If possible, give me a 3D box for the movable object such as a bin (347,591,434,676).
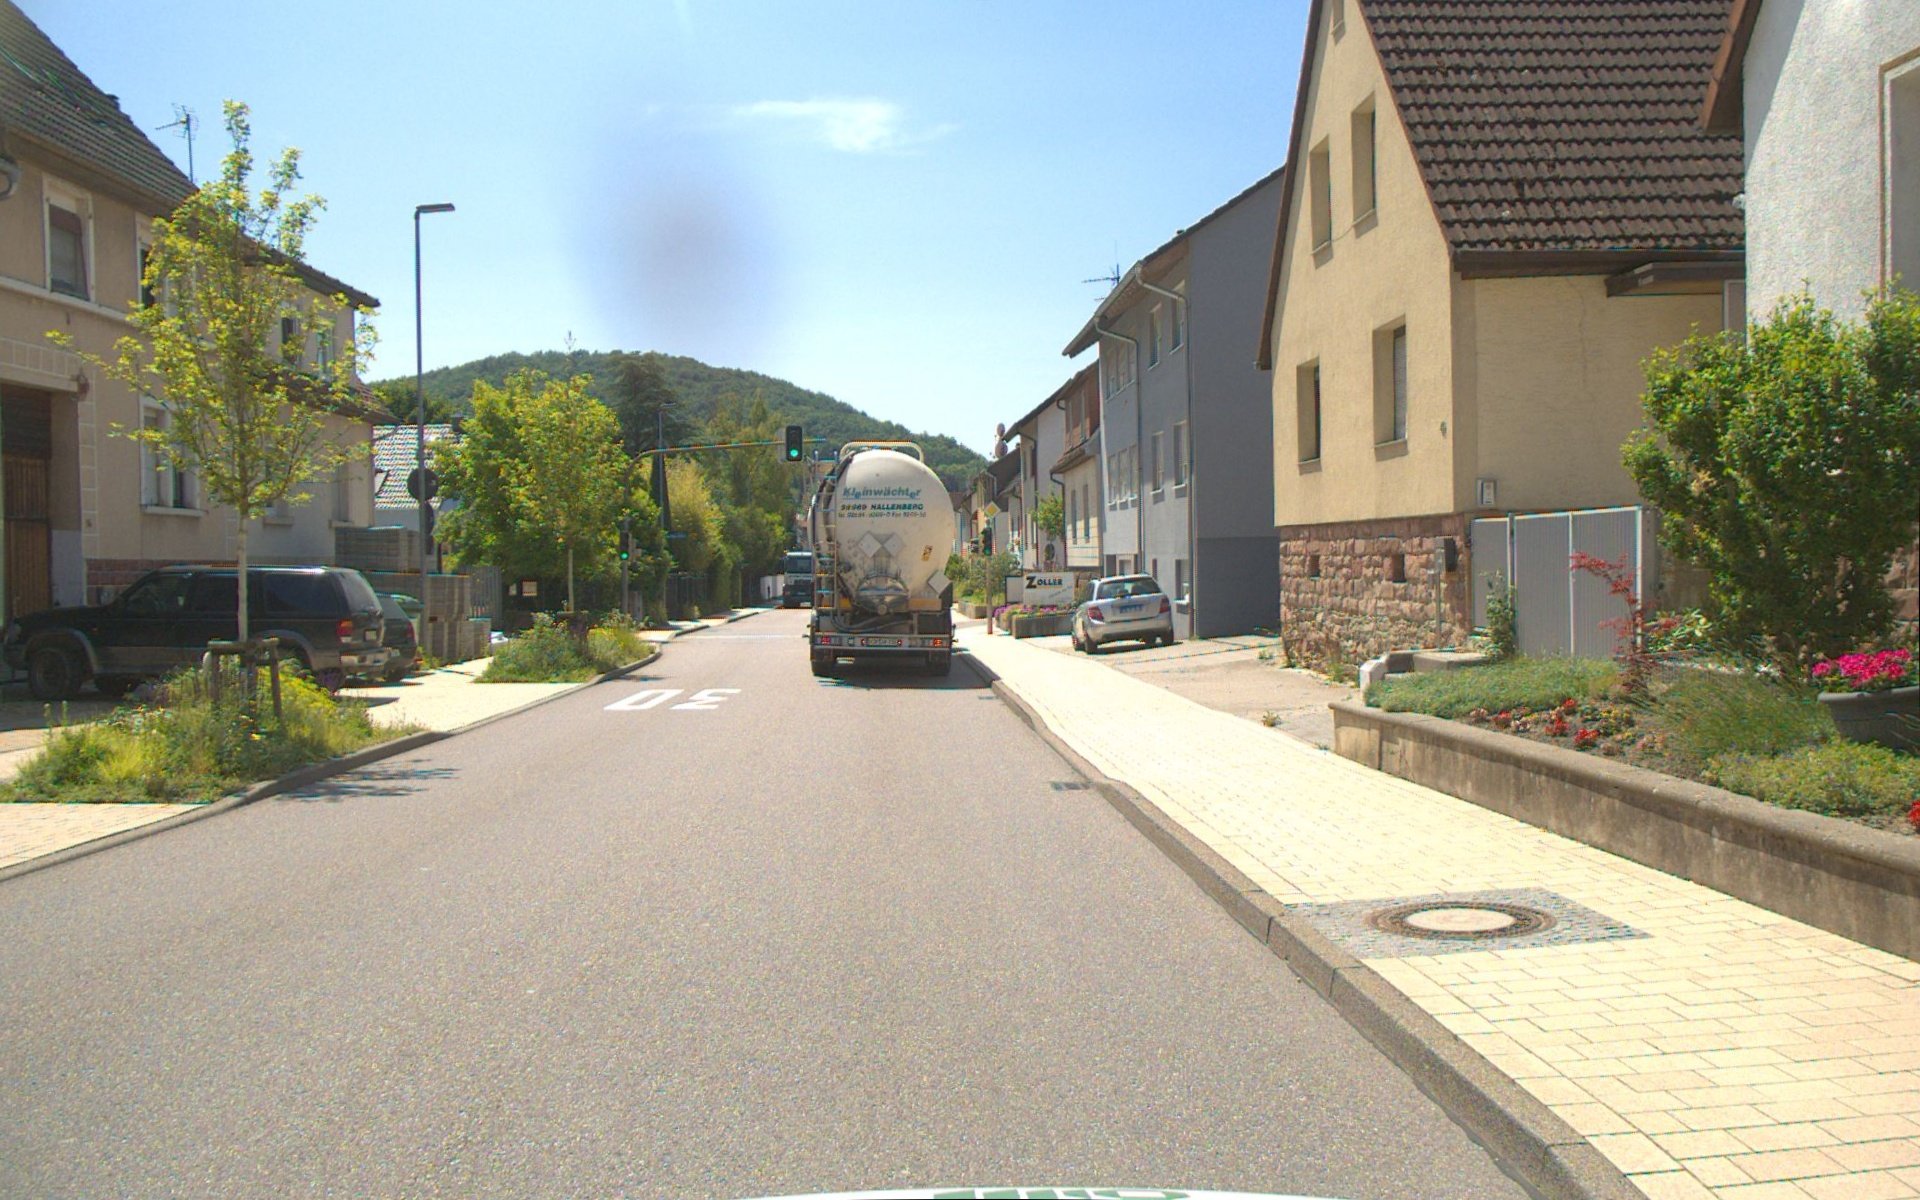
[{"bbox_3d":[-9.746,0.555,28.343,0.969,1.342,1.404,0,3,1],"label":"movable object such as a bin"}]

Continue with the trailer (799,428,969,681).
[{"bbox_3d":[-1.579,-0.786,31.849,2.741,4.071,10.315,0,0,-4],"label":"trailer"}]

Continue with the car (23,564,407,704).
[{"bbox_3d":[-9.928,0.427,22.330,4.307,1.781,1.877,0,0,-4],"label":"car"}]

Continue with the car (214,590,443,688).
[{"bbox_3d":[-10.132,0.594,26.499,3.476,1.464,1.695,0,0,32],"label":"car"}]

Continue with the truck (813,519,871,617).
[{"bbox_3d":[-6.100,-1.595,86.115,2.790,4.760,11.331,-1,0,-4],"label":"truck"}]

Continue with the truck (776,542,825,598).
[{"bbox_3d":[-10.201,-1.865,106.155,2.674,3.430,8.630,0,1,-3],"label":"truck"}]

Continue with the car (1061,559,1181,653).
[{"bbox_3d":[3.178,0.103,33.475,1.755,1.567,4.519,-6,0,-1],"label":"car"}]
